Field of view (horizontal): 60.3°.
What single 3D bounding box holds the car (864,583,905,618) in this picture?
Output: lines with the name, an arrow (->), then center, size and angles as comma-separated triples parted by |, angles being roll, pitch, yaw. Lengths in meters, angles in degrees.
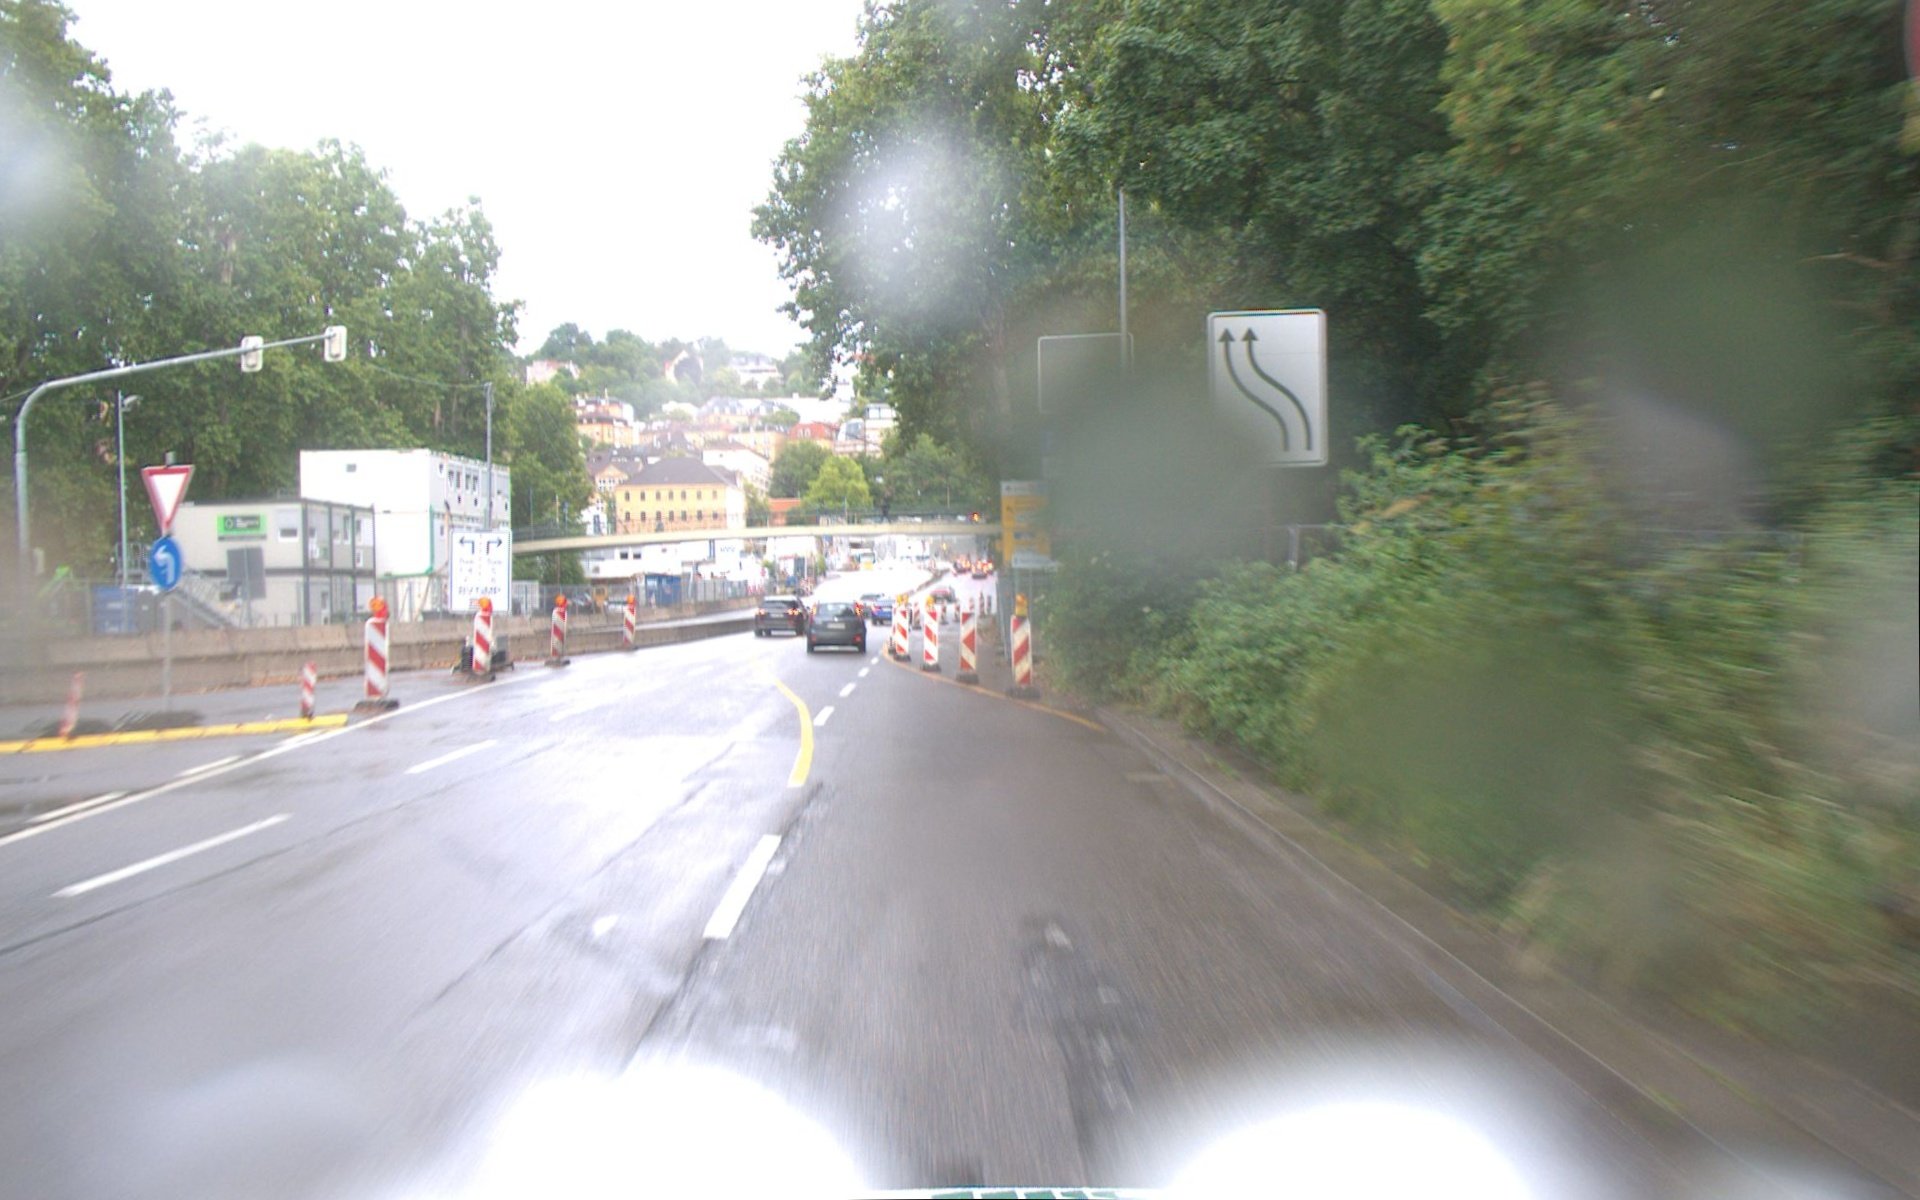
car -> -4.672, 0.007, 103.083 | 1.951, 2.049, 4.002 | -2, 0, 5

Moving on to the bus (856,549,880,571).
bus -> -13.969, -6.068, 251.513 | 2.748, 3.239, 8.811 | -2, 1, 2

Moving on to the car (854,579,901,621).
car -> -4.288, -0.006, 86.807 | 2.061, 2.086, 4.001 | -2, 0, 2

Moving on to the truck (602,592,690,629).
truck -> -23.417, 0.800, 123.650 | 6.154, 2.495, 2.691 | -2, 0, -5

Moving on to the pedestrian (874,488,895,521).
pedestrian -> -5.016, -6.367, 110.283 | 1.123, 2.096, 1.060 | -2, 0, 10

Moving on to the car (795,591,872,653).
car -> -3.539, 0.572, 45.854 | 1.779, 1.553, 3.992 | -3, 0, -9

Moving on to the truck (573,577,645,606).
truck -> -27.741, -0.707, 130.892 | 5.142, 2.048, 2.163 | -2, 1, -2

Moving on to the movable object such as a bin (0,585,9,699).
movable object such as a bin -> -28.865, 1.273, 43.494 | 3.851, 3.183, 6.388 | -2, 0, 0

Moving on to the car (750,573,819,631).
car -> -6.654, 0.068, 63.049 | 1.975, 2.049, 4.001 | -2, 0, 2

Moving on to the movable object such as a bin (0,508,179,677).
movable object such as a bin -> -29.238, -0.177, 52.516 | 4.652, 4.886, 8.360 | -2, 0, 0

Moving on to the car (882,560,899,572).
car -> -10.410, -5.156, 248.010 | 2.038, 1.659, 4.854 | -2, 2, 1

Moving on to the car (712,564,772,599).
car -> -19.168, -1.689, 145.904 | 1.956, 2.925, 6.043 | -2, 0, 29

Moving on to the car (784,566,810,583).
car -> -17.430, -2.739, 177.282 | 1.951, 1.649, 4.004 | -1, 3, 6

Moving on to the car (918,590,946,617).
car -> -2.256, 0.285, 134.884 | 2.009, 2.049, 4.001 | -2, 0, 1

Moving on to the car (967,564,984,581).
car -> 1.835, -3.321, 198.705 | 1.952, 1.902, 4.000 | -2, 0, 1
